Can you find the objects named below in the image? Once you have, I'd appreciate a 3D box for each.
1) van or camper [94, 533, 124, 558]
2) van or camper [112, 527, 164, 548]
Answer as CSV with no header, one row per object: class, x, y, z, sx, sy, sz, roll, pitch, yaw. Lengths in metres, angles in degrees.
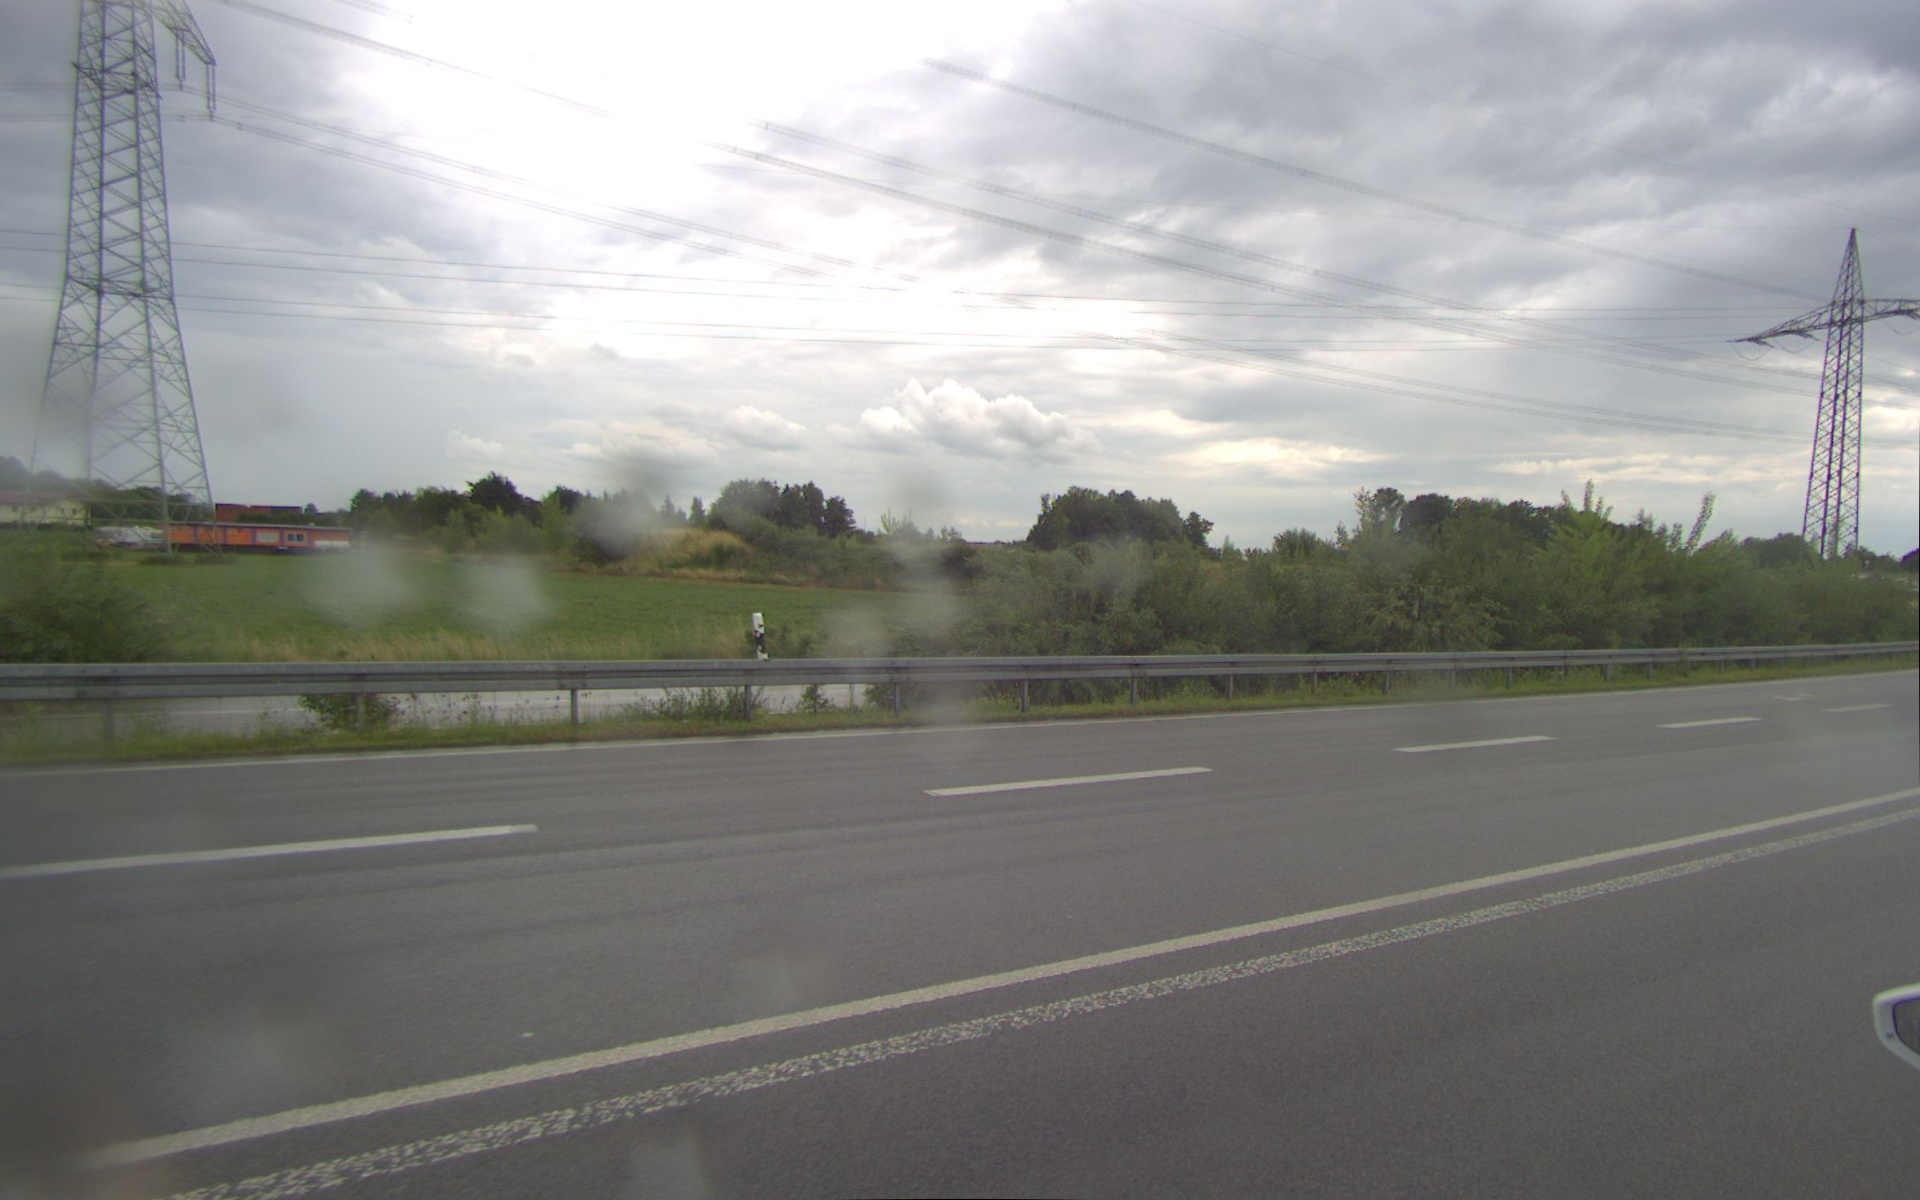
van or camper,-103.134,-6.635,121.696,2.313,2.667,5.641,0,5,-44
van or camper,-119.261,-9.011,145.788,5.665,2.667,2.303,1,4,-37
